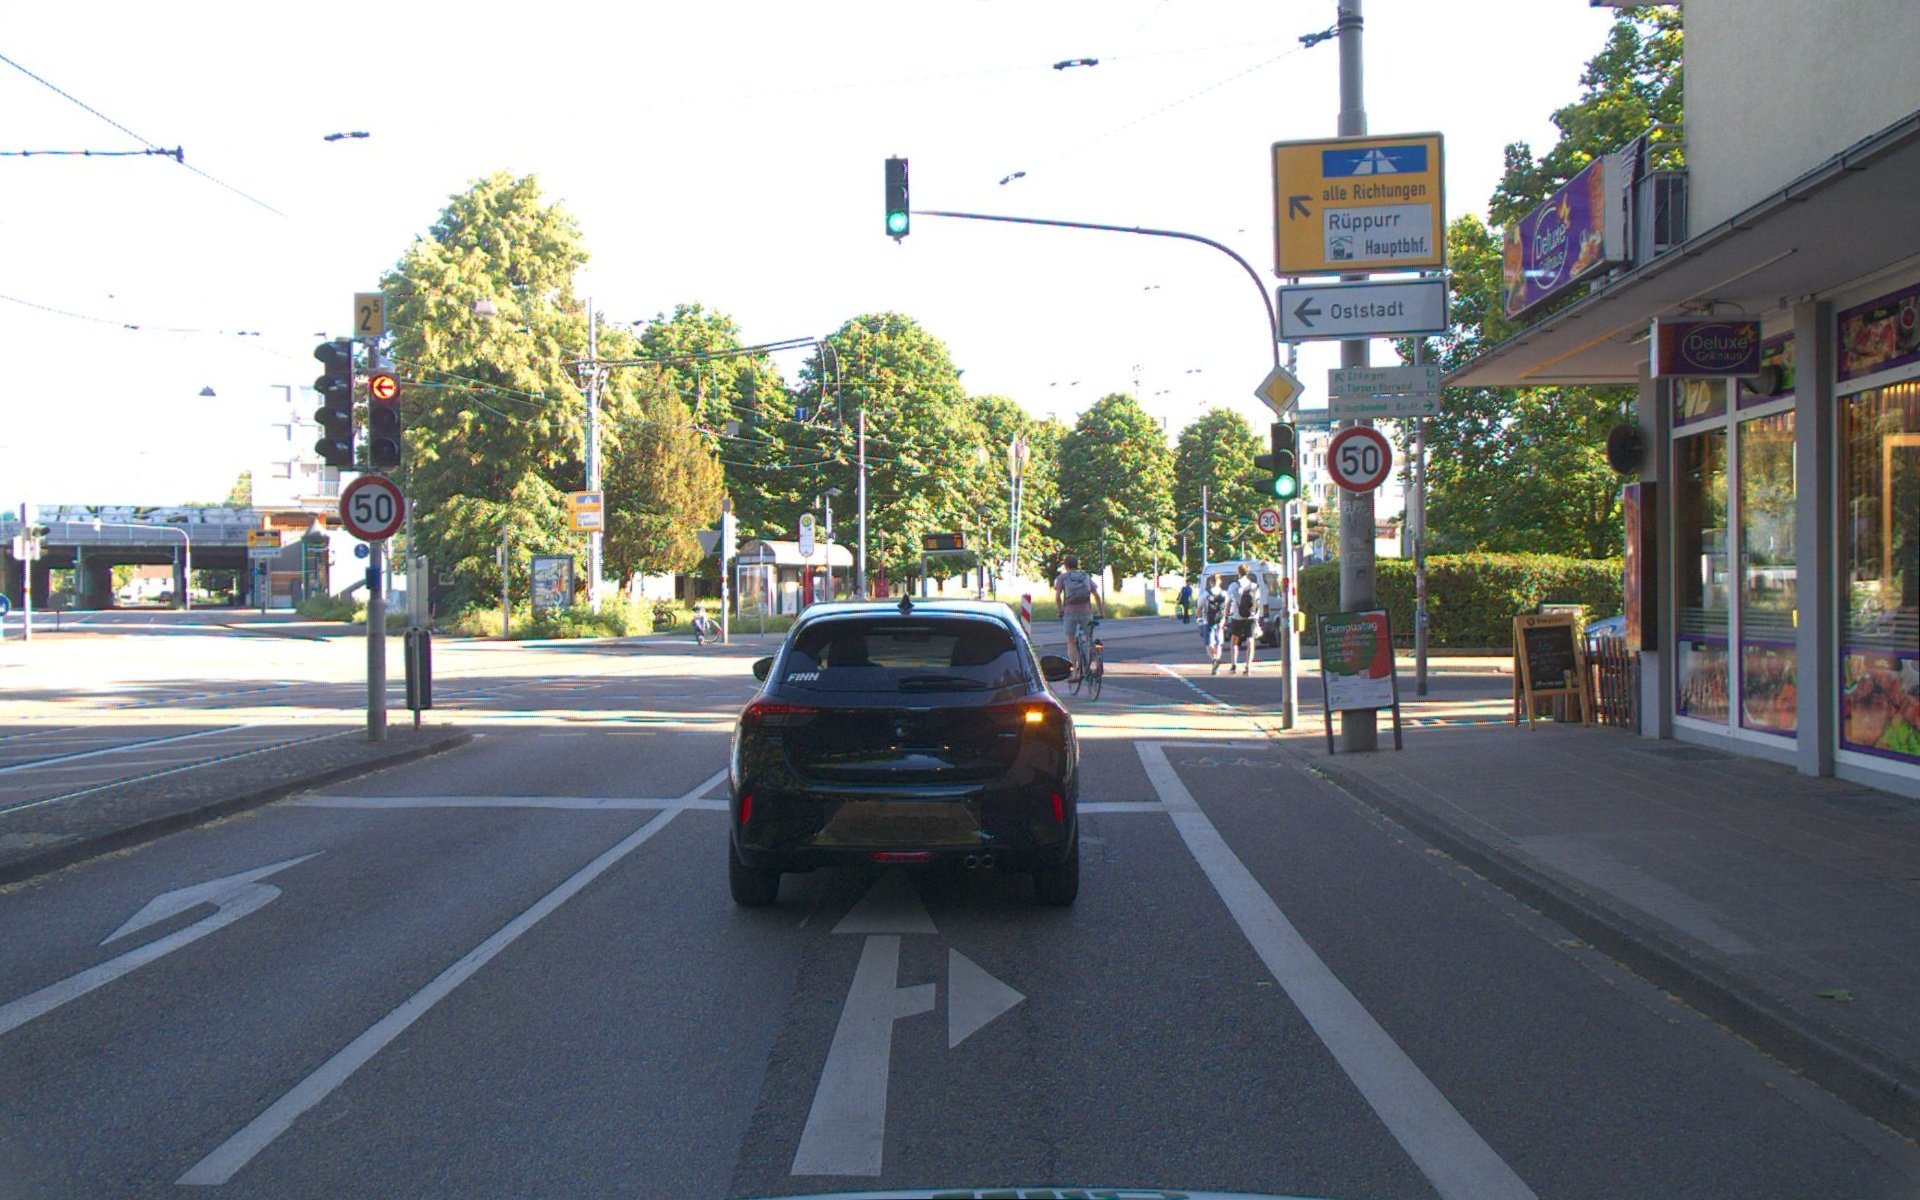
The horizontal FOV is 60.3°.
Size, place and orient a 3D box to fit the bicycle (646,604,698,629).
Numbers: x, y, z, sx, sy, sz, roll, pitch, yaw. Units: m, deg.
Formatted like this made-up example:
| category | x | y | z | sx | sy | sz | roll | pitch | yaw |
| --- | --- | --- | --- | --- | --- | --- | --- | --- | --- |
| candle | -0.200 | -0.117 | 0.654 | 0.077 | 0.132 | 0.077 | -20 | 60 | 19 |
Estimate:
| category | x | y | z | sx | sy | sz | roll | pitch | yaw |
| --- | --- | --- | --- | --- | --- | --- | --- | --- | --- |
| bicycle | -11.080 | 0.644 | 63.649 | 1.837 | 0.922 | 0.660 | -1 | 0 | 6 |

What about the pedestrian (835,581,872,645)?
| category | x | y | z | sx | sy | sz | roll | pitch | yaw |
| --- | --- | --- | --- | --- | --- | --- | --- | --- | --- |
| pedestrian | -2.881 | 0.345 | 44.857 | 0.695 | 1.722 | 0.716 | -1 | 0 | -44 |

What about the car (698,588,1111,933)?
| category | x | y | z | sx | sy | sz | roll | pitch | yaw |
| --- | --- | --- | --- | --- | --- | --- | --- | --- | --- |
| car | -0.232 | 0.678 | 9.096 | 1.763 | 1.466 | 3.940 | -1 | 0 | 0 |

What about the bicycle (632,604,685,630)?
| category | x | y | z | sx | sy | sz | roll | pitch | yaw |
| --- | --- | --- | --- | --- | --- | --- | --- | --- | --- |
| bicycle | -11.250 | 0.639 | 61.802 | 1.837 | 0.922 | 0.660 | -1 | 0 | 6 |

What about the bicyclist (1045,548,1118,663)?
| category | x | y | z | sx | sy | sz | roll | pitch | yaw |
| --- | --- | --- | --- | --- | --- | --- | --- | --- | --- |
| bicyclist | 1.675 | 0.068 | 23.004 | 0.823 | 1.536 | 1.368 | -1 | 0 | -3 |

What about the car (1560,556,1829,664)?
| category | x | y | z | sx | sy | sz | roll | pitch | yaw |
| --- | --- | --- | --- | --- | --- | --- | --- | --- | --- |
| car | 13.248 | 0.214 | 30.046 | 4.087 | 1.846 | 1.807 | -1 | -3 | 7 |

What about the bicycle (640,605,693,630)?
| category | x | y | z | sx | sy | sz | roll | pitch | yaw |
| --- | --- | --- | --- | --- | --- | --- | --- | --- | --- |
| bicycle | -11.125 | 0.654 | 62.676 | 1.837 | 0.922 | 0.660 | -1 | 0 | 6 |

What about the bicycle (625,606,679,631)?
| category | x | y | z | sx | sy | sz | roll | pitch | yaw |
| --- | --- | --- | --- | --- | --- | --- | --- | --- | --- |
| bicycle | -11.319 | 0.678 | 60.815 | 1.837 | 0.922 | 0.660 | -1 | 0 | 6 |

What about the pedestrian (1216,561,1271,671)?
| category | x | y | z | sx | sy | sz | roll | pitch | yaw |
| --- | --- | --- | --- | --- | --- | --- | --- | --- | --- |
| pedestrian | 4.941 | 0.268 | 28.847 | 0.691 | 1.878 | 0.697 | -1 | 0 | 38 |

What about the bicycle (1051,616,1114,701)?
| category | x | y | z | sx | sy | sz | roll | pitch | yaw |
| --- | --- | --- | --- | --- | --- | --- | --- | --- | --- |
| bicycle | 1.675 | 0.783 | 22.883 | 0.654 | 1.078 | 2.081 | -1 | 0 | -1 |

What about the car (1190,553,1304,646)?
| category | x | y | z | sx | sy | sz | roll | pitch | yaw |
| --- | --- | --- | --- | --- | --- | --- | --- | --- | --- |
| car | 7.597 | -0.003 | 43.497 | 2.047 | 2.317 | 4.305 | 0 | -1 | 23 |

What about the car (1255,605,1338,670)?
| category | x | y | z | sx | sy | sz | roll | pitch | yaw |
| --- | --- | --- | --- | --- | --- | --- | --- | --- | --- |
| car | 10.044 | 1.072 | 49.190 | 1.763 | 1.794 | 3.891 | -1 | 0 | 21 |

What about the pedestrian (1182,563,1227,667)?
| category | x | y | z | sx | sy | sz | roll | pitch | yaw |
| --- | --- | --- | --- | --- | --- | --- | --- | --- | --- |
| pedestrian | 4.347 | 0.254 | 29.429 | 0.684 | 1.823 | 0.617 | -1 | 0 | -2 |

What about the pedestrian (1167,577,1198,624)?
| category | x | y | z | sx | sy | sz | roll | pitch | yaw |
| --- | --- | --- | --- | --- | --- | --- | --- | --- | --- |
| pedestrian | 8.667 | 0.022 | 64.429 | 0.939 | 1.824 | 0.995 | -1 | 0 | 24 |

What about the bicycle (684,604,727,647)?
| category | x | y | z | sx | sy | sz | roll | pitch | yaw |
| --- | --- | --- | --- | --- | --- | --- | --- | --- | --- |
| bicycle | -6.718 | 0.654 | 43.727 | 0.808 | 1.078 | 1.883 | -1 | 0 | 1 |
